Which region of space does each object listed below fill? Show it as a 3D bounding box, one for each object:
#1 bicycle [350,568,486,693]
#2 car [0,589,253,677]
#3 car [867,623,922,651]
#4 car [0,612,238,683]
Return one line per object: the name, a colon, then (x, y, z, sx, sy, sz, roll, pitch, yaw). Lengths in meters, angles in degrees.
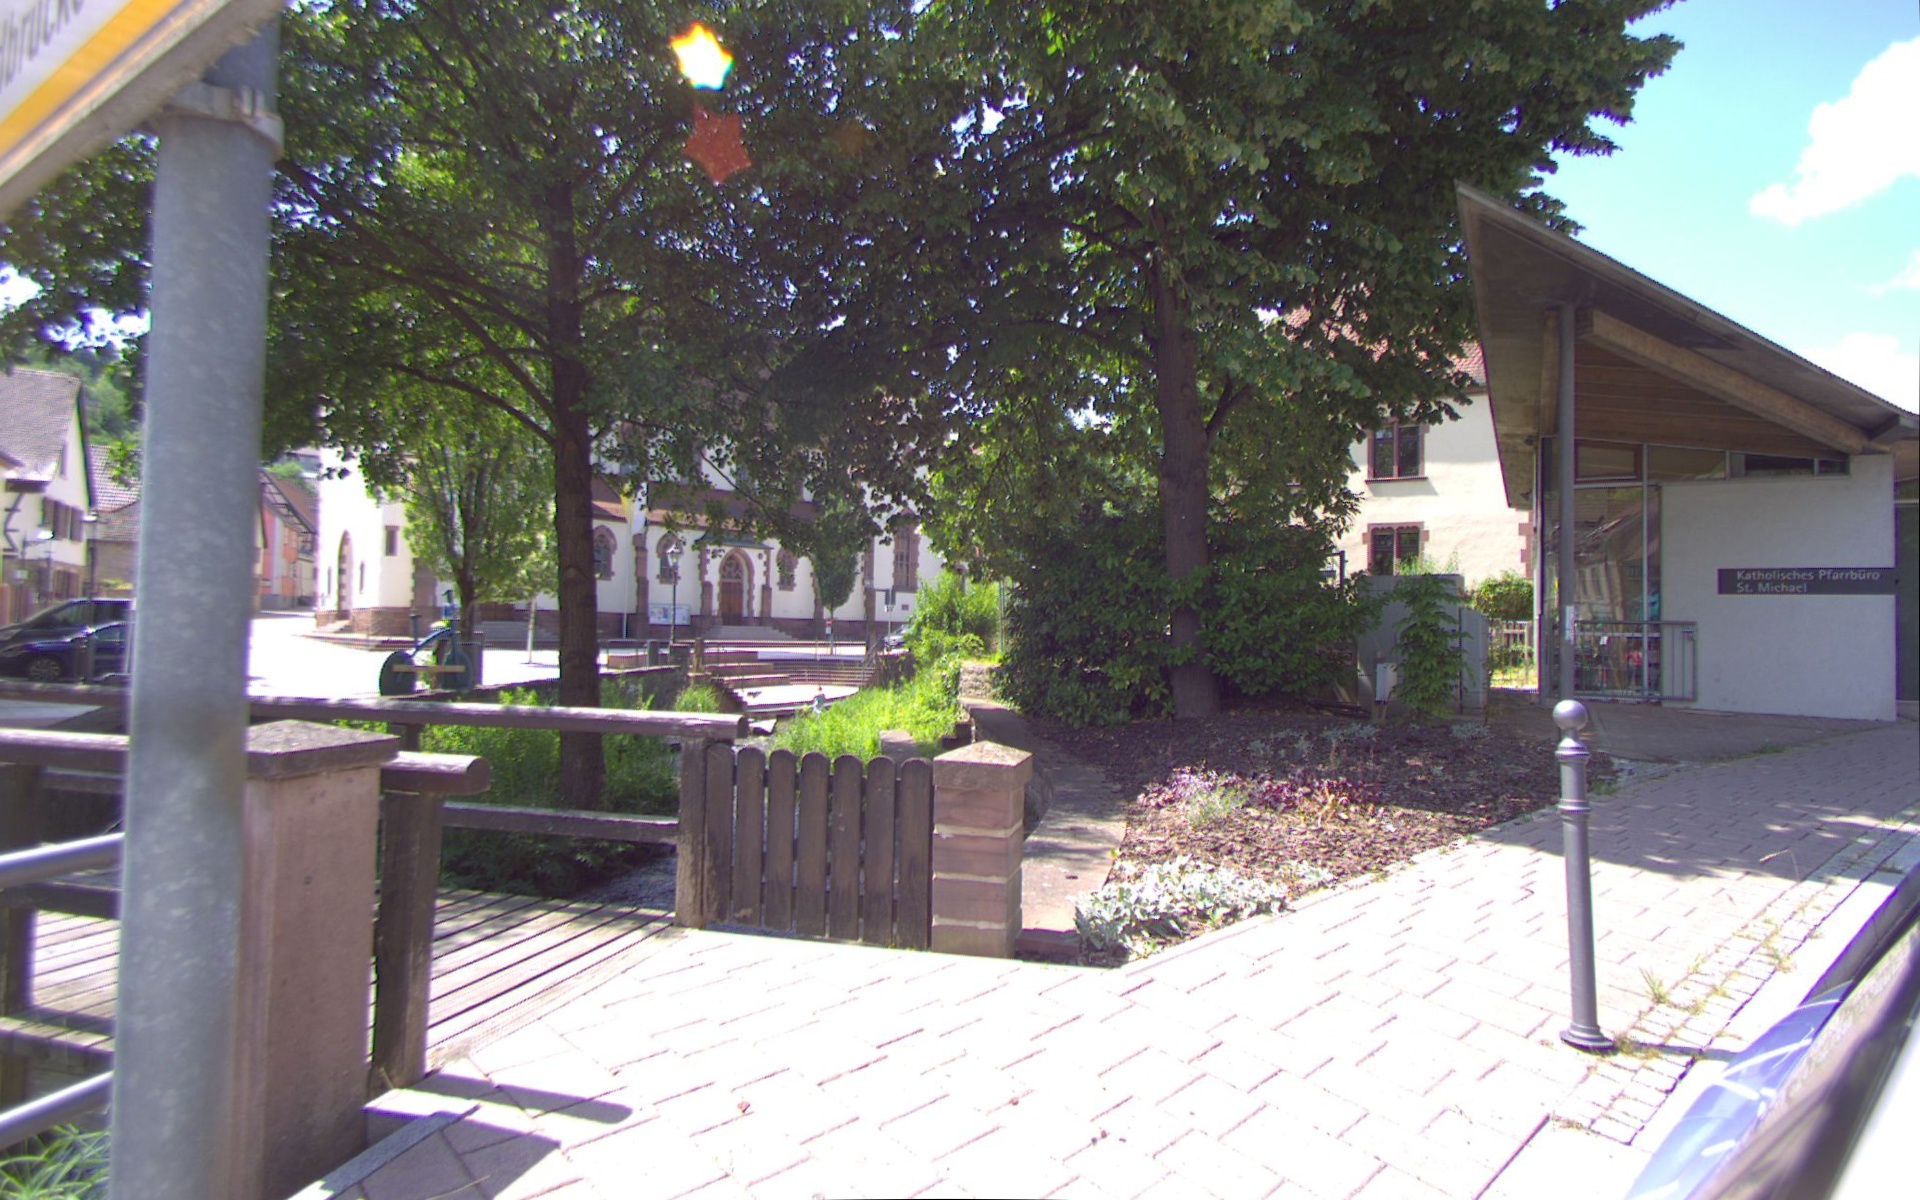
bicycle: (-9.575, 0.539, 18.032, 0.769, 2.040, 2.661, -3, -2, 6)
car: (-21.666, 0.900, 26.300, 5.038, 2.053, 1.954, 5, -3, -45)
car: (-3.612, 2.062, 56.684, 1.650, 1.524, 3.783, -1, -2, 21)
car: (-20.035, 1.146, 24.000, 4.465, 1.501, 1.585, 5, -3, -45)
